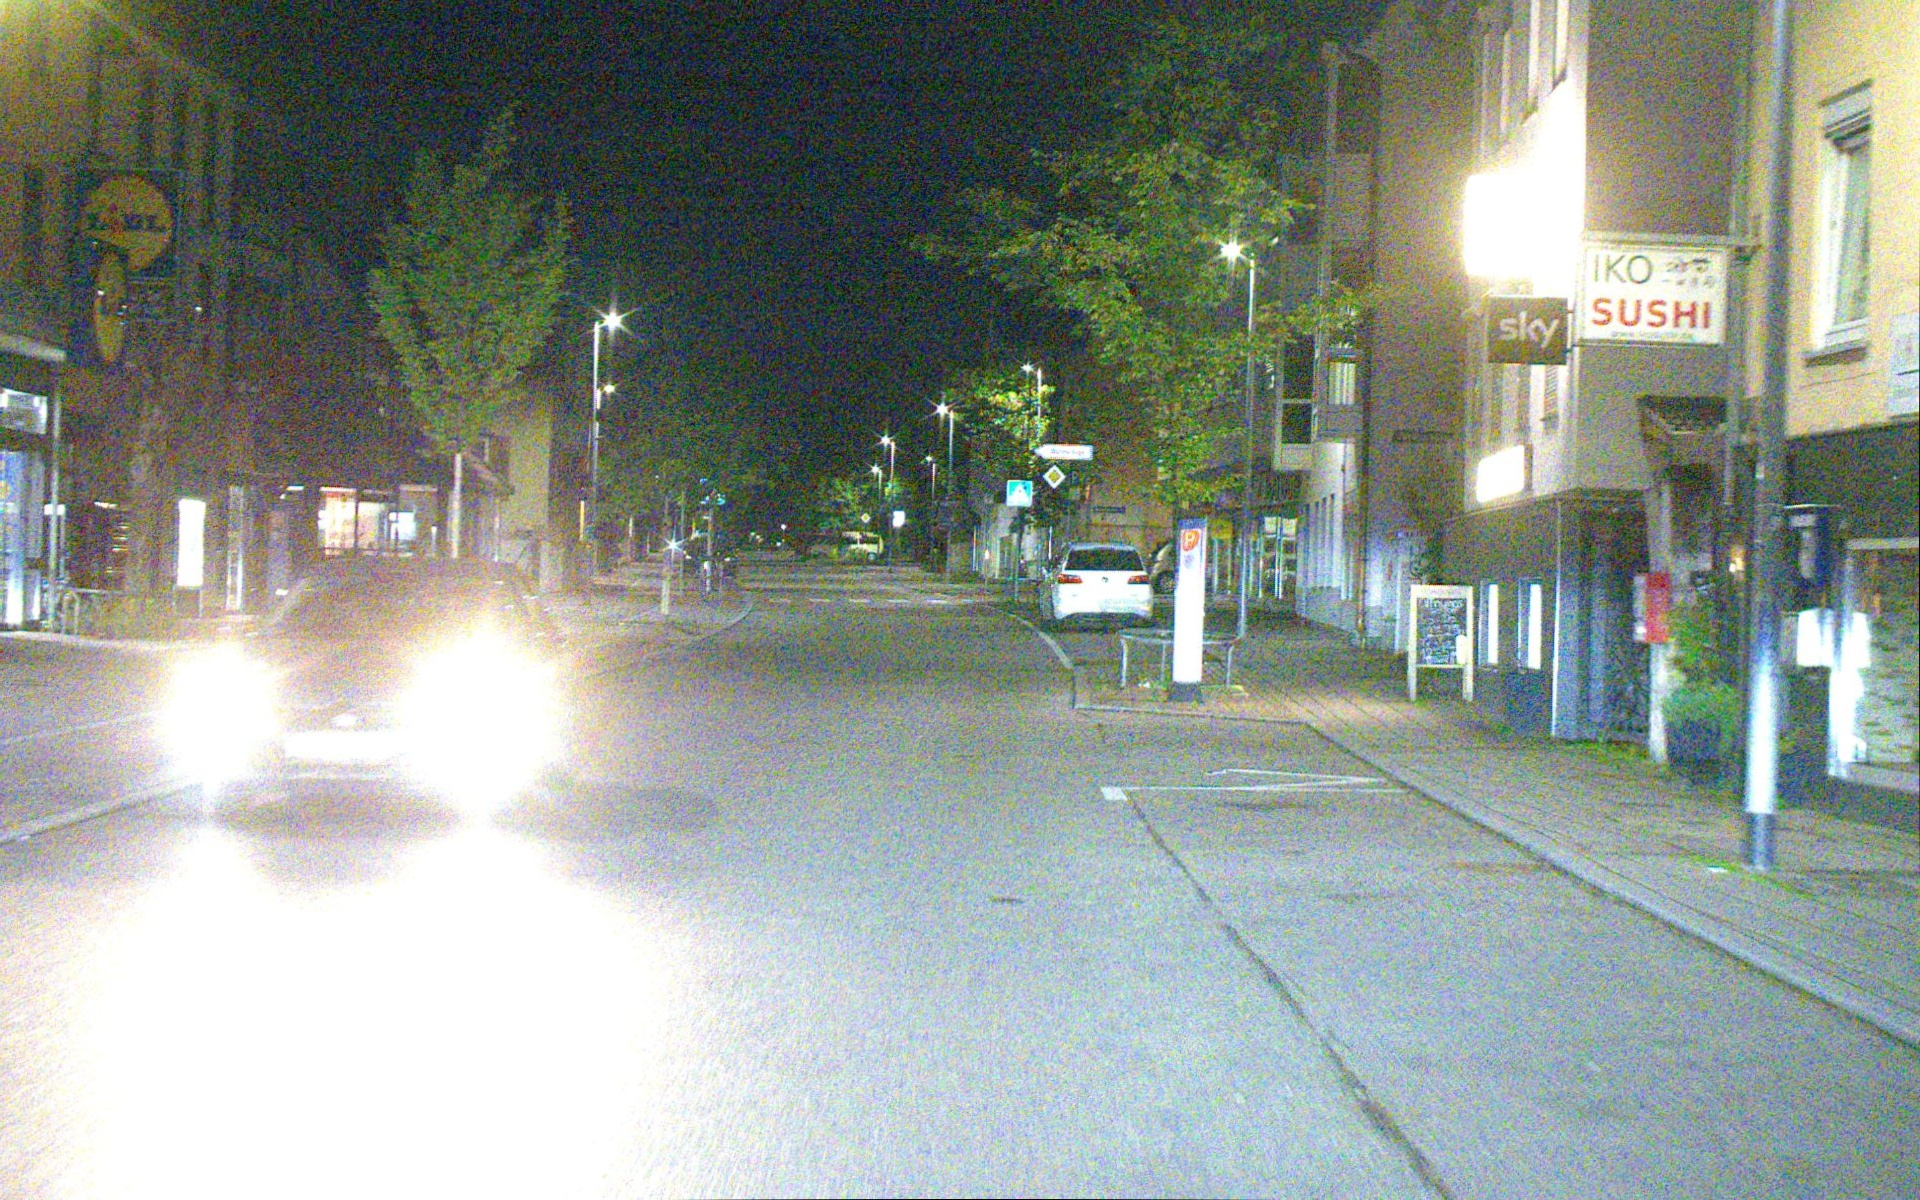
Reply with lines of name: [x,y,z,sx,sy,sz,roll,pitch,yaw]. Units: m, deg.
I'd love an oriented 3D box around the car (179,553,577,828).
car: [-3.299,0.455,20.125,1.716,1.423,3.816,1,1,-1]

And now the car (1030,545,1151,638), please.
car: [2.245,-0.173,60.060,1.742,1.563,4.209,1,1,-3]

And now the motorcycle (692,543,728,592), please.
motorcycle: [-7.597,-0.983,104.435,0.746,1.447,2.195,1,1,4]

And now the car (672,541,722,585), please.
car: [-9.423,-1.335,123.490,1.688,1.505,4.279,1,1,-4]

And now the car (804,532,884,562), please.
car: [-7.750,-3.520,229.189,5.181,2.007,2.102,0,1,-5]

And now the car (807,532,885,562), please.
car: [-7.715,-3.585,232.263,5.181,2.007,2.102,0,1,-5]

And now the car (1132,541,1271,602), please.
car: [6.549,-0.786,93.502,3.505,1.519,1.821,-2,1,-5]
